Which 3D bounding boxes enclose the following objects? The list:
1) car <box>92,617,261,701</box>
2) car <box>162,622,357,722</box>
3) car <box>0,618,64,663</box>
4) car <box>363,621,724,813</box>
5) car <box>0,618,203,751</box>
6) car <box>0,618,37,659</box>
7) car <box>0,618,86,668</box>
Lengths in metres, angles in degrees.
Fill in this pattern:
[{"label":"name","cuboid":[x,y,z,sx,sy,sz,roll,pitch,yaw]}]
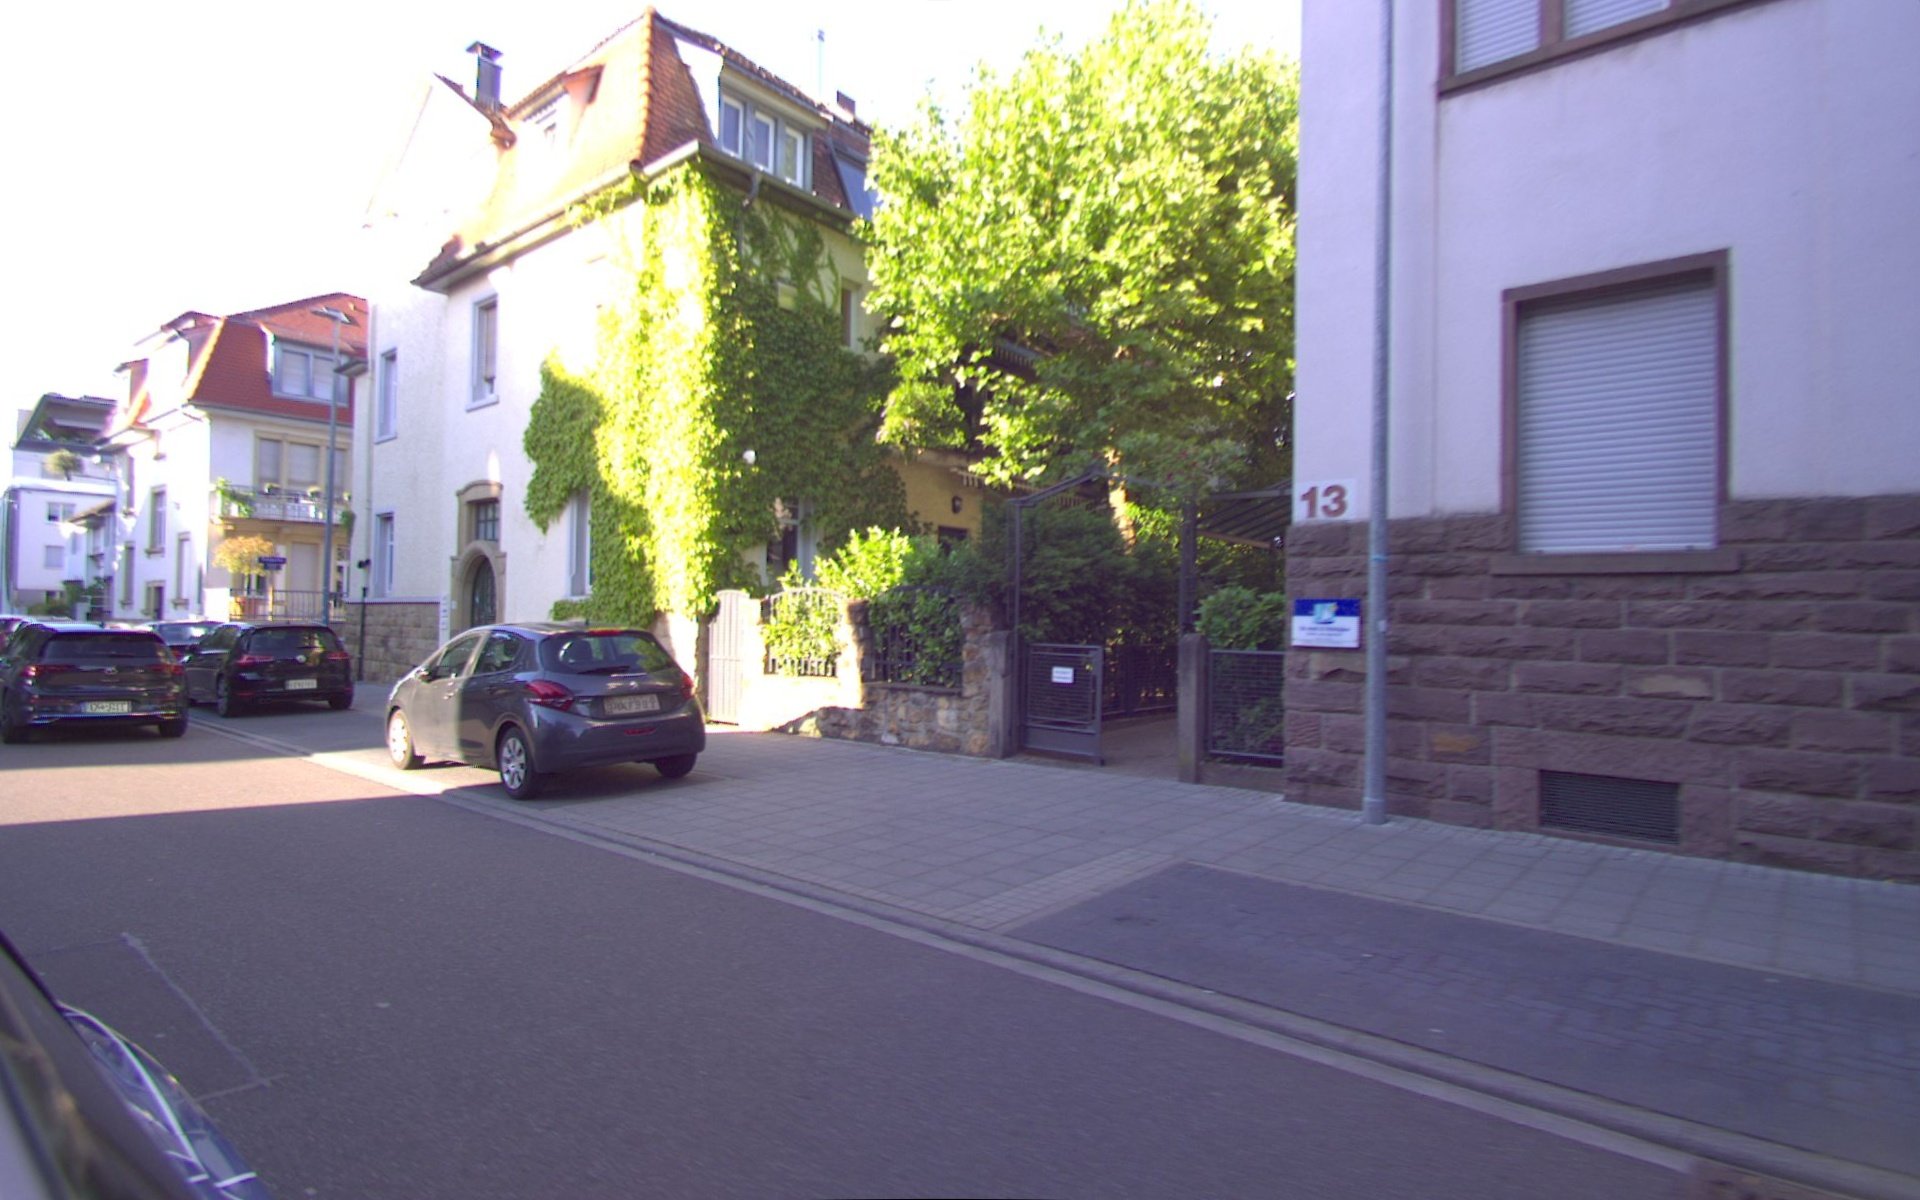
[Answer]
[{"label":"car","cuboid":[-15.559,1.073,20.012,4.629,1.481,1.692,-1,-1,40]},{"label":"car","cuboid":[-11.532,1.076,16.552,4.165,1.426,1.636,-1,-1,41]},{"label":"car","cuboid":[-33.333,1.399,35.959,3.700,1.488,1.566,-1,-1,37]},{"label":"car","cuboid":[-4.134,0.939,9.737,4.003,1.458,1.636,-1,-1,42]},{"label":"car","cuboid":[-11.434,0.994,13.120,3.998,1.460,1.753,-1,-3,41]},{"label":"car","cuboid":[-36.755,1.456,38.774,3.703,1.532,1.565,-1,-1,40]},{"label":"car","cuboid":[-29.320,1.324,32.231,4.629,1.465,1.636,-1,-1,42]}]
